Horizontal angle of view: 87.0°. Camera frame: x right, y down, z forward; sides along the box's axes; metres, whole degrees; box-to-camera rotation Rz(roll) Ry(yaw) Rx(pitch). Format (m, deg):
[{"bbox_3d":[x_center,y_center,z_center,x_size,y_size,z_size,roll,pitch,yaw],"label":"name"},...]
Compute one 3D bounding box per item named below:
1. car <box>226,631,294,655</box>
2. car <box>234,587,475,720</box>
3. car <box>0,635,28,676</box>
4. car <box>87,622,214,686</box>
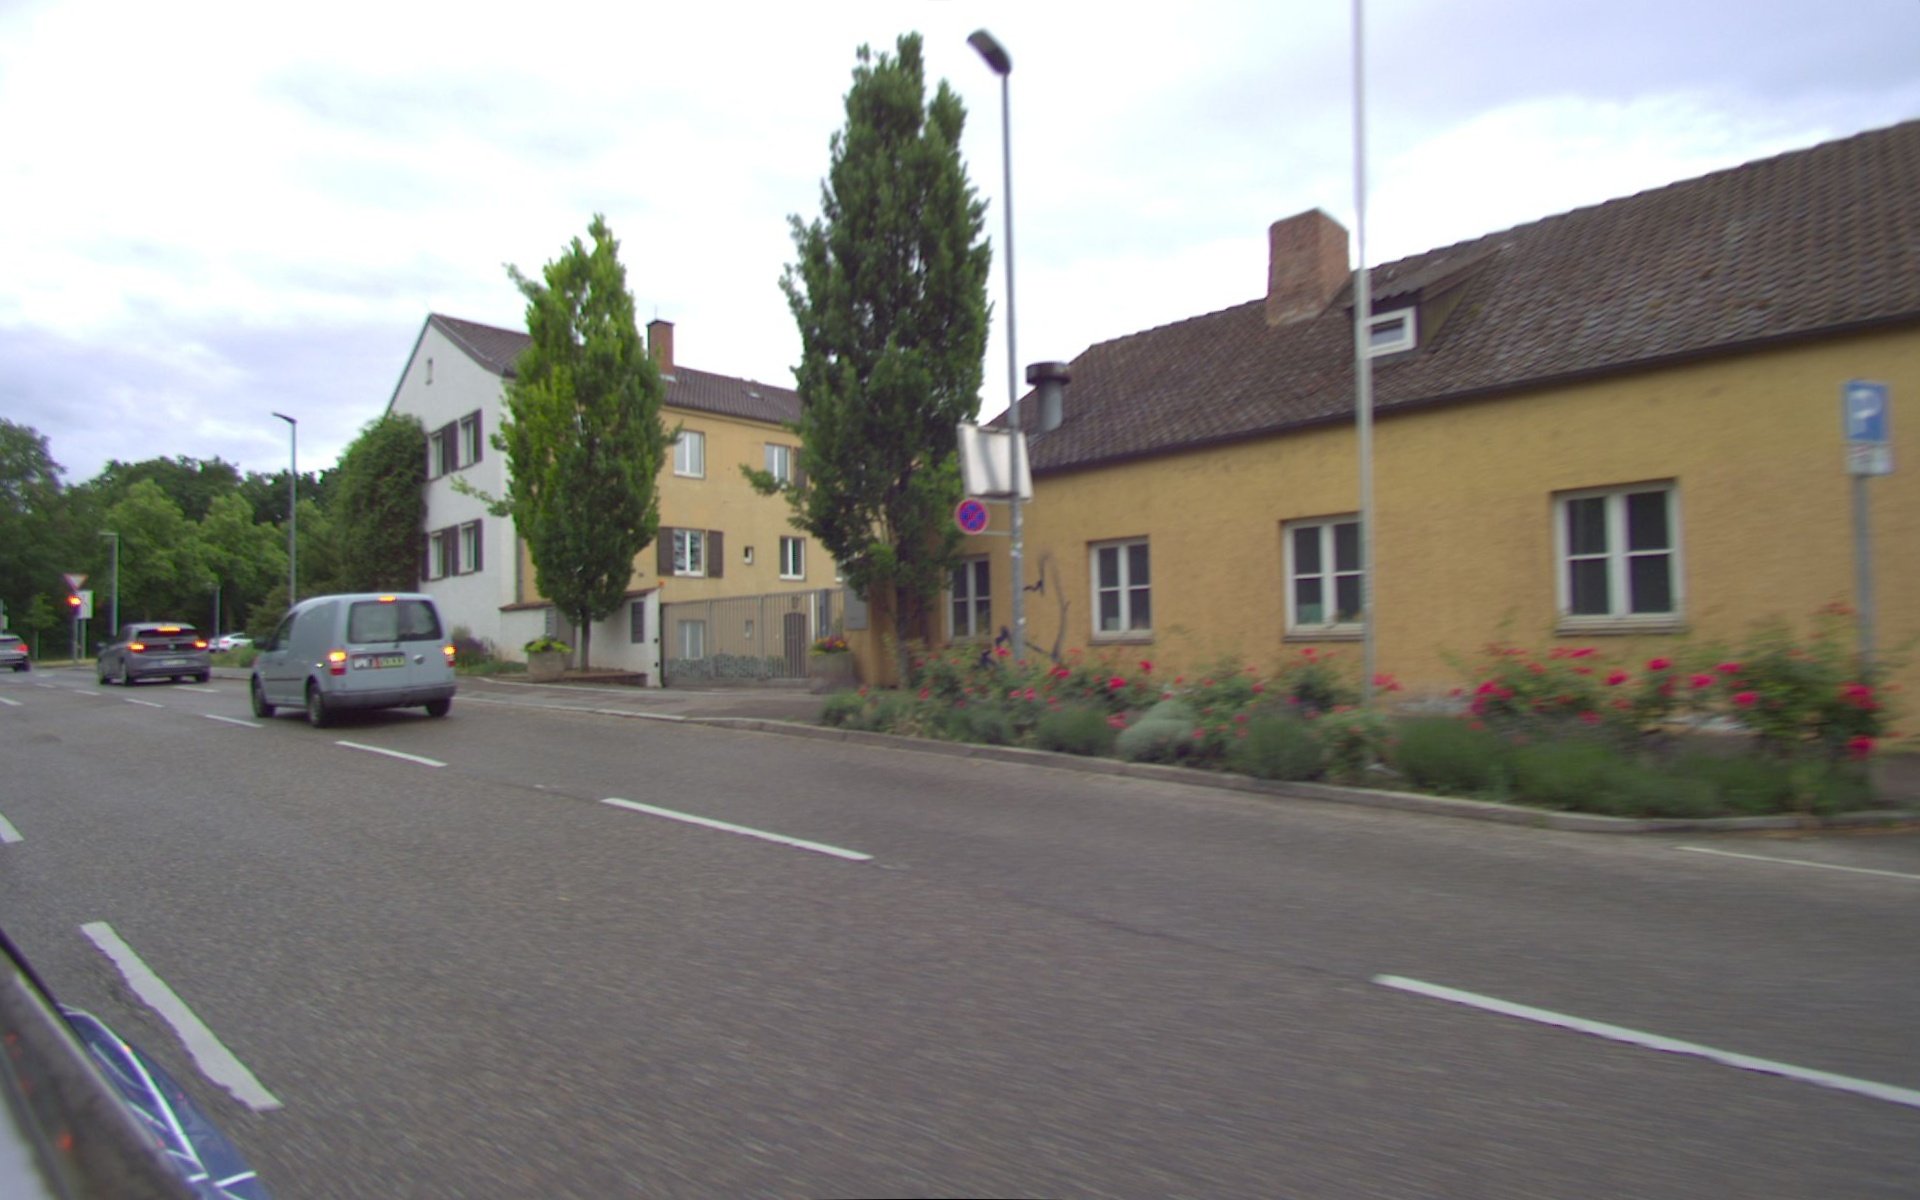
[{"bbox_3d":[-56.669,3.445,82.039,1.981,1.778,4.324,-1,0,14],"label":"car"},{"bbox_3d":[-9.230,0.706,15.269,4.508,1.718,1.875,-1,0,42],"label":"car"},{"bbox_3d":[-41.338,2.404,43.201,4.342,1.640,1.900,-3,-2,42],"label":"car"},{"bbox_3d":[-21.200,1.341,26.440,4.467,1.469,1.863,-1,0,41],"label":"car"}]
